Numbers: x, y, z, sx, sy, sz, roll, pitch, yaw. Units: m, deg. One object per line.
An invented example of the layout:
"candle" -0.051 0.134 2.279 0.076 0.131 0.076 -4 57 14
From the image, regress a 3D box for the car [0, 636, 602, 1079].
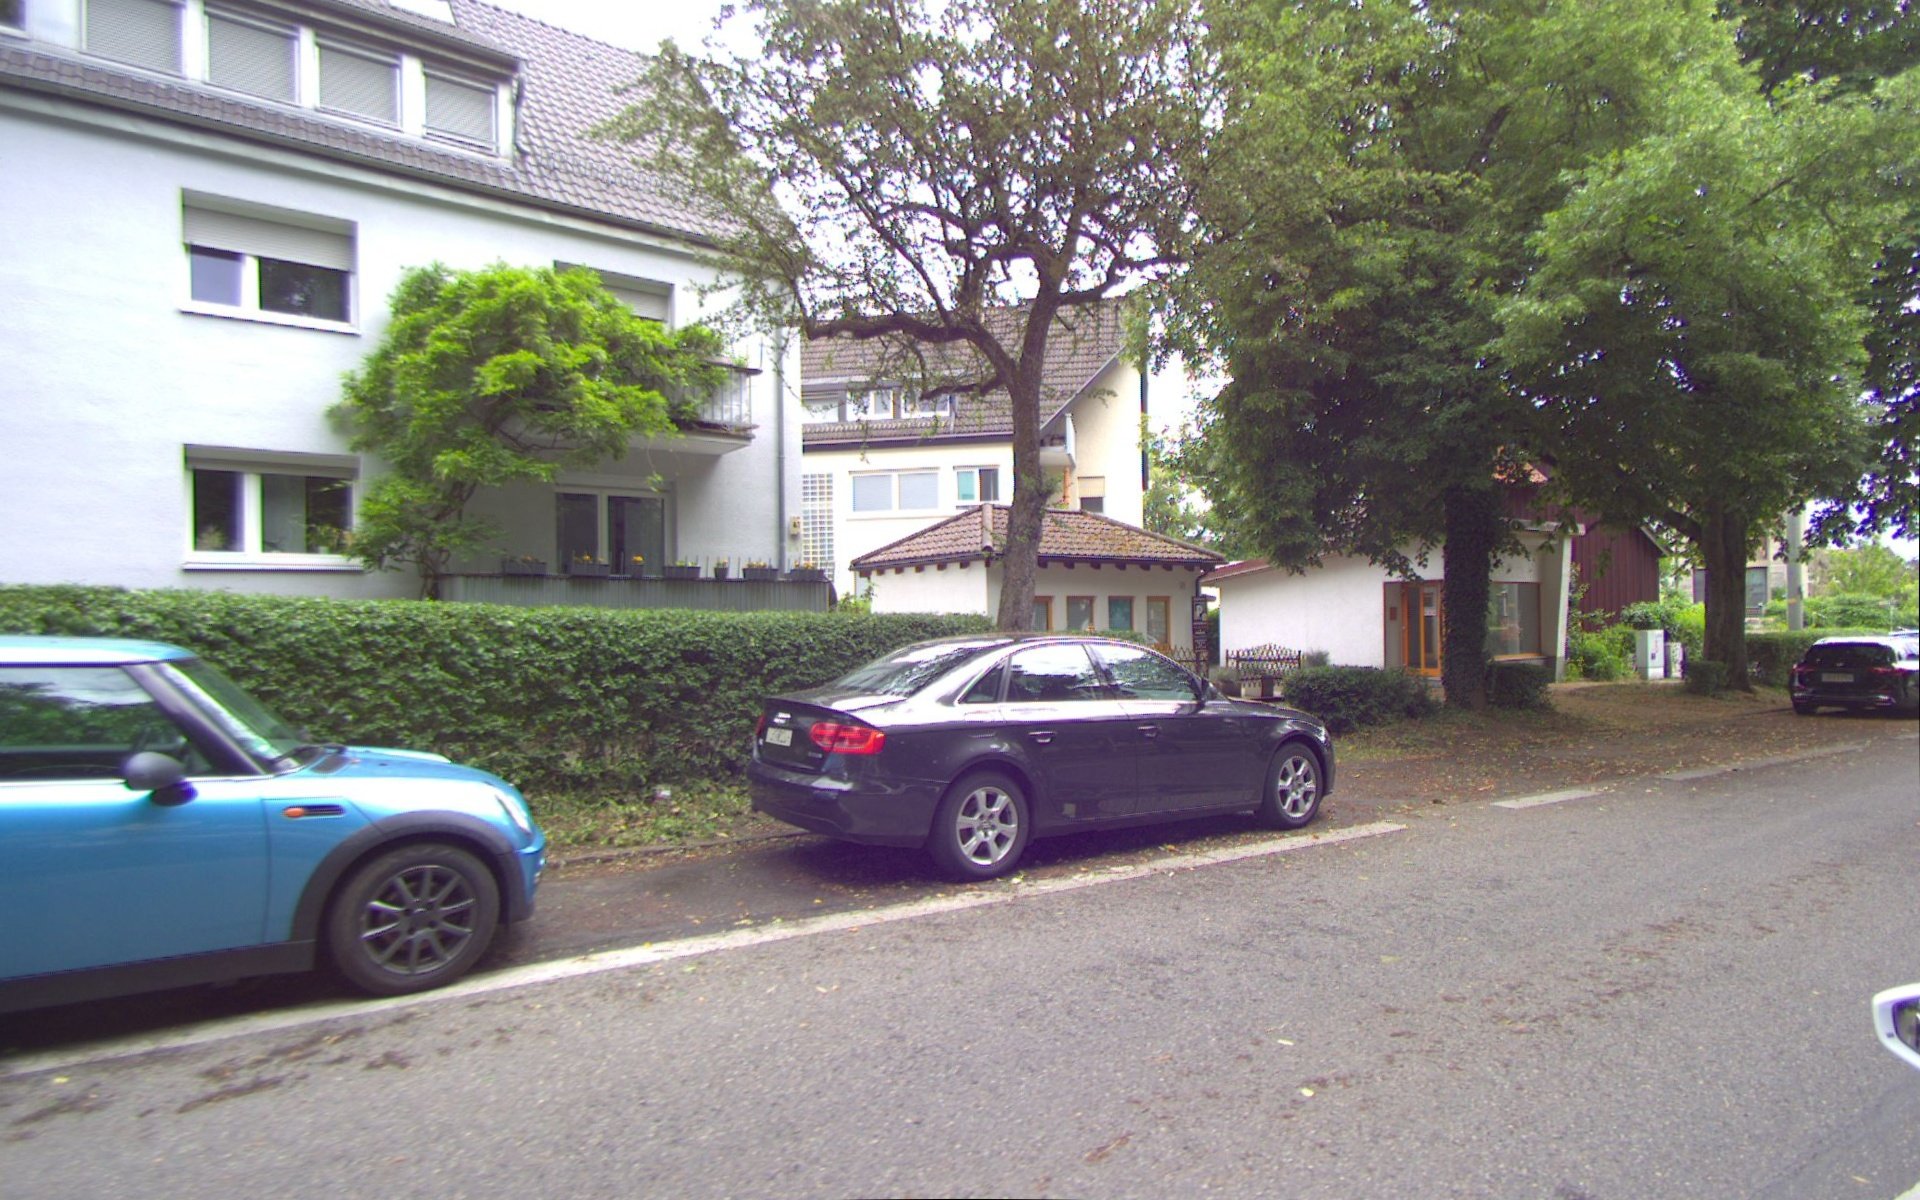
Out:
"car" -3.510 0.859 3.936 3.672 1.410 1.653 1 -3 -37

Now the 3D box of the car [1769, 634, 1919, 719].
"car" 17.242 1.378 18.935 4.507 1.429 1.880 2 -3 -34

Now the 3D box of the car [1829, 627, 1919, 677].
"car" 31.009 1.664 32.631 1.785 1.530 3.955 -1 -1 -39

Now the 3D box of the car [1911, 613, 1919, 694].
"car" 25.813 1.342 25.541 4.468 1.989 1.842 2 -3 -40

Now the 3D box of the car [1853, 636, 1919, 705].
"car" 21.401 1.500 22.081 4.148 1.434 1.782 1 -3 -36

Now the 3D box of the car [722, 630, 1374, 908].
"car" 0.800 0.943 7.231 4.596 1.429 1.784 1 -3 -34
